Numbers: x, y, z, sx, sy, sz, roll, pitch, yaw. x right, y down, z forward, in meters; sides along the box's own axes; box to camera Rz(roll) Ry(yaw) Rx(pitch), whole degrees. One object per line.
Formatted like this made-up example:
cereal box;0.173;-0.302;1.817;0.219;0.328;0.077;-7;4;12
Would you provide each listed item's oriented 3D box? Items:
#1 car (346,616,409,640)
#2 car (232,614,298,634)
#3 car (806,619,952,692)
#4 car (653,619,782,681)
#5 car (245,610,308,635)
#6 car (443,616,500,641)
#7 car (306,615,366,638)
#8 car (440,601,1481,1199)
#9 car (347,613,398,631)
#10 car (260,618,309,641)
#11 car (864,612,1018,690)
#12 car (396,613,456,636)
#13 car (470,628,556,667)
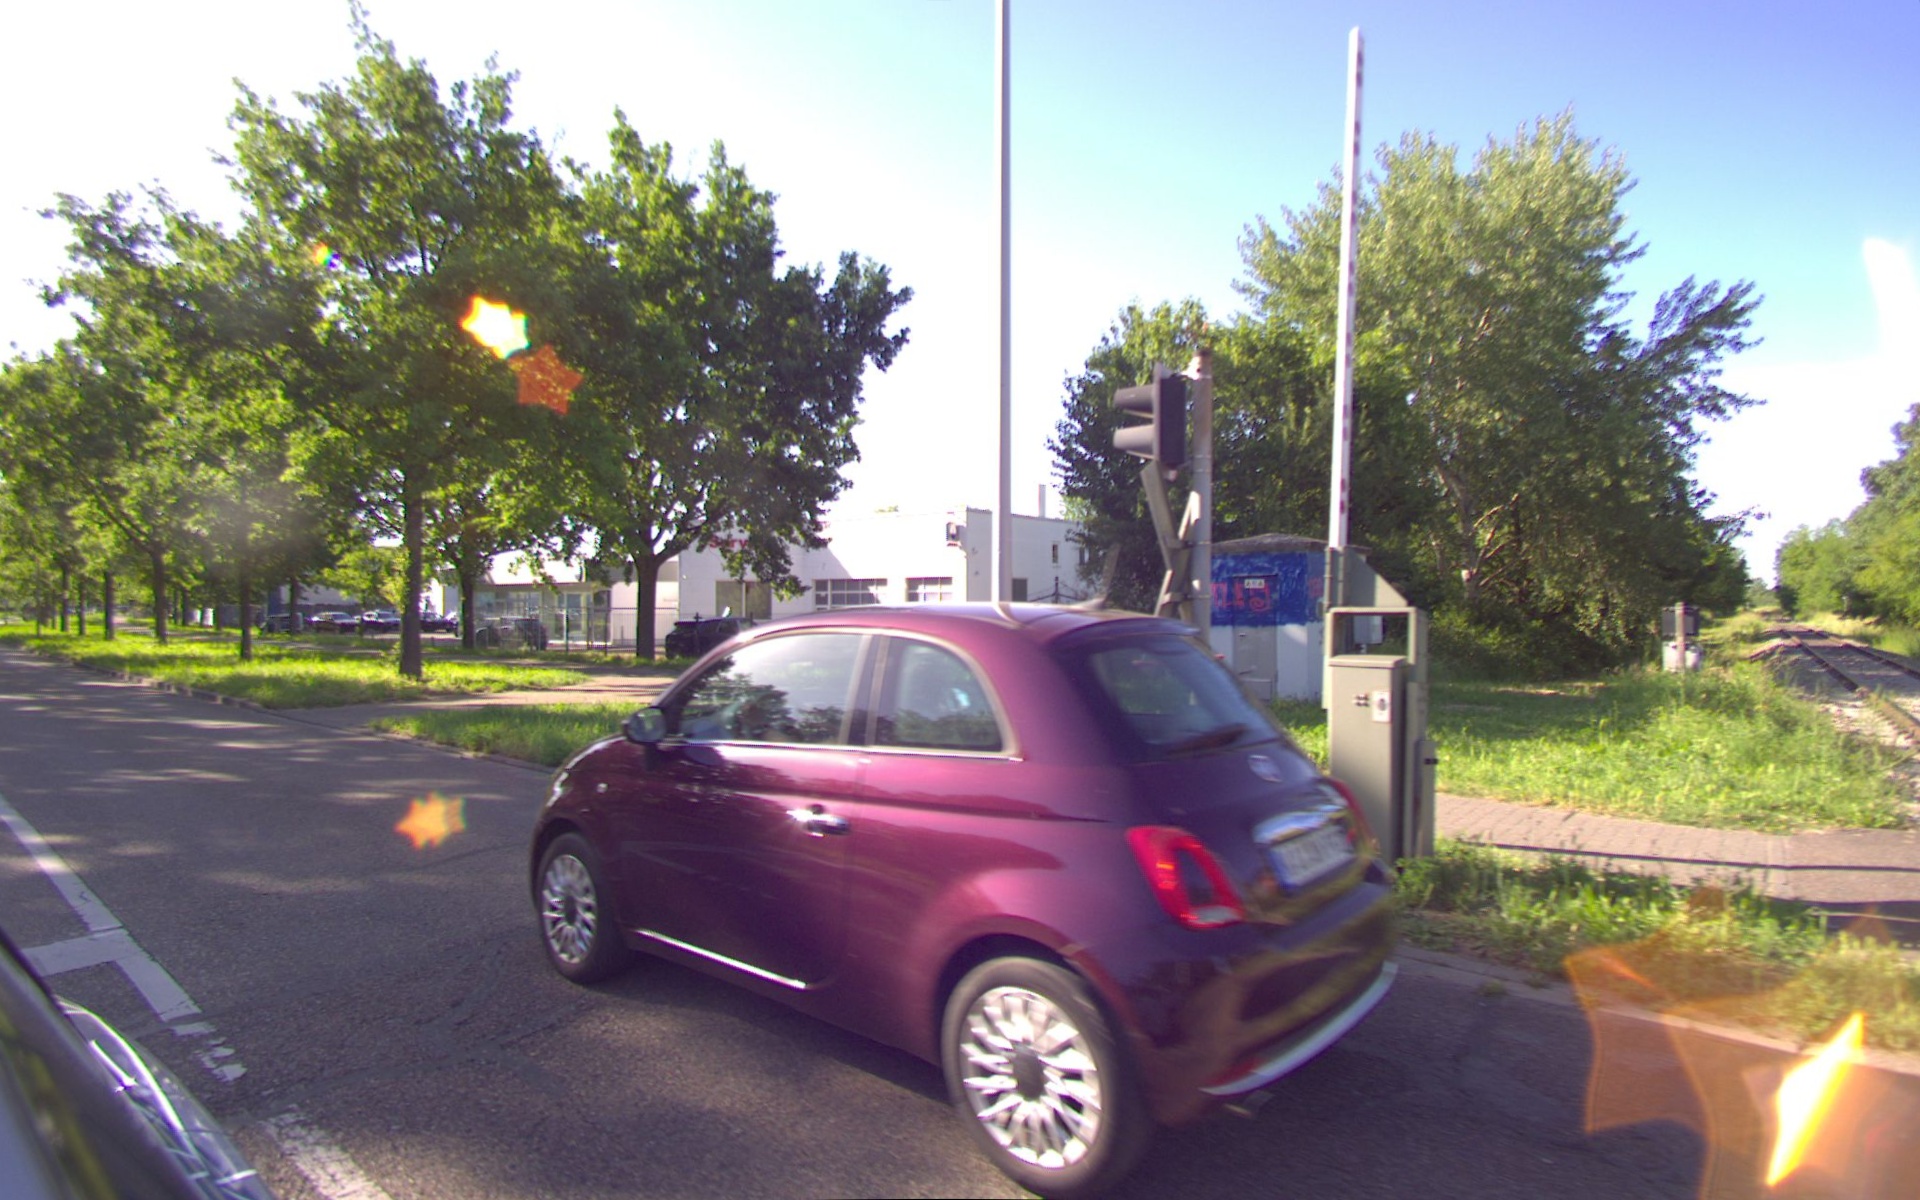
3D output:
car;-45.823;2.177;79.629;5.240;1.730;1.979;0;1;31
car;-57.863;1.983;84.288;4.259;1.530;1.864;-2;1;-43
car;-2.309;1.560;29.726;1.998;1.815;4.149;0;1;39
car;-8.272;1.645;34.734;1.997;1.815;3.951;0;1;37
car;-54.272;1.756;80.400;3.939;1.755;2.003;-2;1;-42
car;-34.388;1.995;71.397;1.969;1.673;5.268;-1;-1;-7
car;-47.764;1.996;77.397;4.480;1.688;1.980;0;1;29
car;-0.365;0.769;3.912;3.998;1.516;1.549;0;-1;41
car;-55.766;2.028;96.068;3.939;1.530;1.753;-2;1;-43
car;-44.780;1.922;67.120;2.531;1.481;1.430;0;-1;-29
car;-0.443;1.309;27.544;1.998;1.815;4.149;0;1;39
car;-43.262;1.979;81.949;5.243;1.702;1.978;0;1;33
car;-21.334;2.201;48.187;5.016;1.609;1.972;0;1;43
